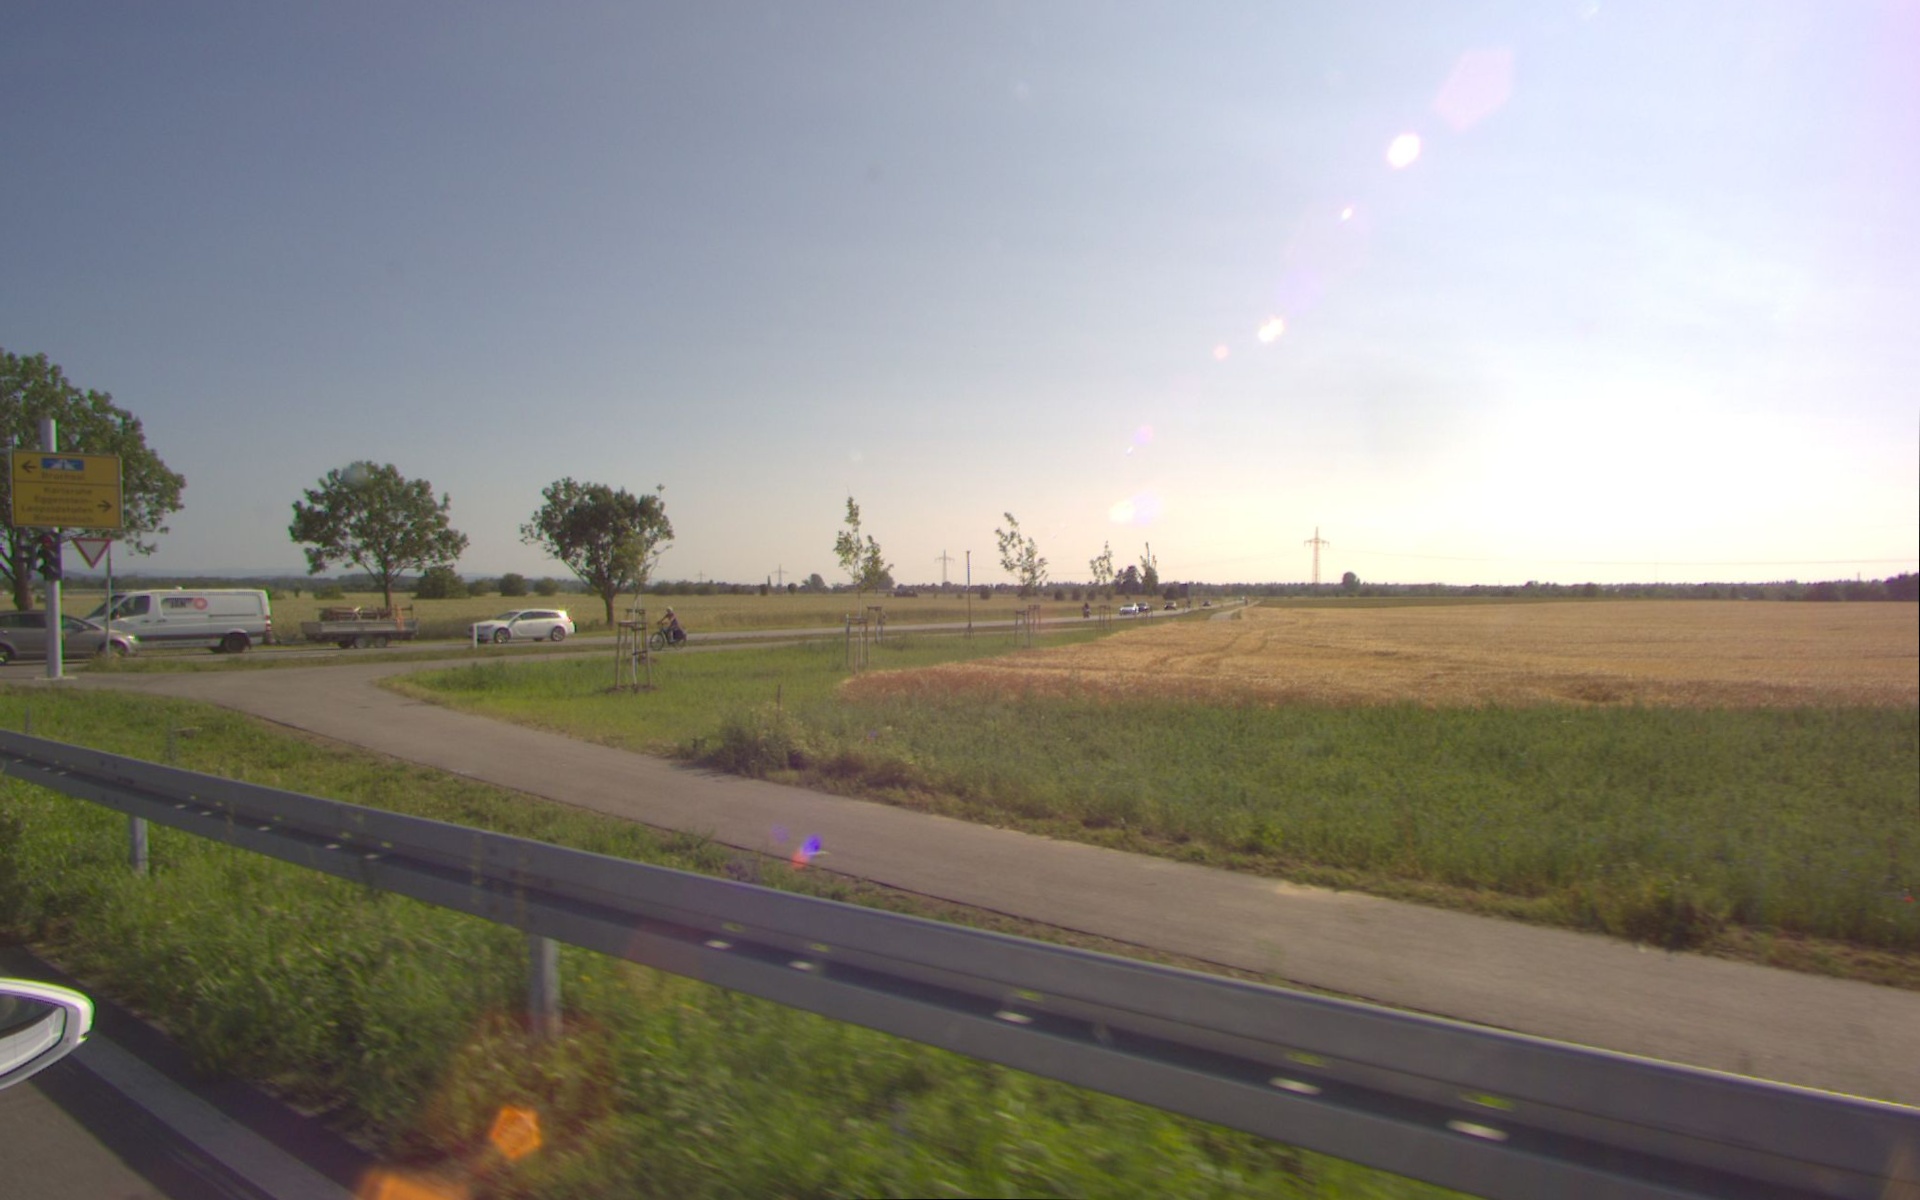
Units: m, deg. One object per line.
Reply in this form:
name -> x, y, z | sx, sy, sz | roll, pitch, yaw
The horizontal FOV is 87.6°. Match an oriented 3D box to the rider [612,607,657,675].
rider -> -8.220, 1.024, 25.318 | 0.972, 1.665, 0.820 | 1, 2, -9

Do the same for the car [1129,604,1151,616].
car -> 25.027, 1.360, 139.086 | 1.987, 1.610, 4.872 | 2, 0, 22

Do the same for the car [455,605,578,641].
car -> -20.168, 1.068, 45.728 | 1.973, 1.529, 4.856 | -1, -2, 35

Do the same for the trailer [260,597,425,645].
trailer -> -24.311, 0.798, 39.642 | 1.929, 1.776, 5.241 | 0, 0, 37

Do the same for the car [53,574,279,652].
car -> -27.719, 0.513, 35.203 | 1.975, 2.524, 5.937 | -1, -2, 38

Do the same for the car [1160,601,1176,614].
car -> 35.172, 1.262, 169.117 | 1.964, 1.715, 4.871 | 4, 4, 19

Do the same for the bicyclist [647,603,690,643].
bicyclist -> -12.026, 0.939, 41.334 | 1.149, 1.623, 1.275 | 2, 1, 35

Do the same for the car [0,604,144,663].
car -> -27.191, 1.001, 30.028 | 1.743, 1.689, 3.939 | -1, -2, 39

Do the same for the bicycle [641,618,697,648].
bicycle -> -12.017, 1.347, 41.387 | 0.878, 1.201, 2.150 | -1, -1, 35
